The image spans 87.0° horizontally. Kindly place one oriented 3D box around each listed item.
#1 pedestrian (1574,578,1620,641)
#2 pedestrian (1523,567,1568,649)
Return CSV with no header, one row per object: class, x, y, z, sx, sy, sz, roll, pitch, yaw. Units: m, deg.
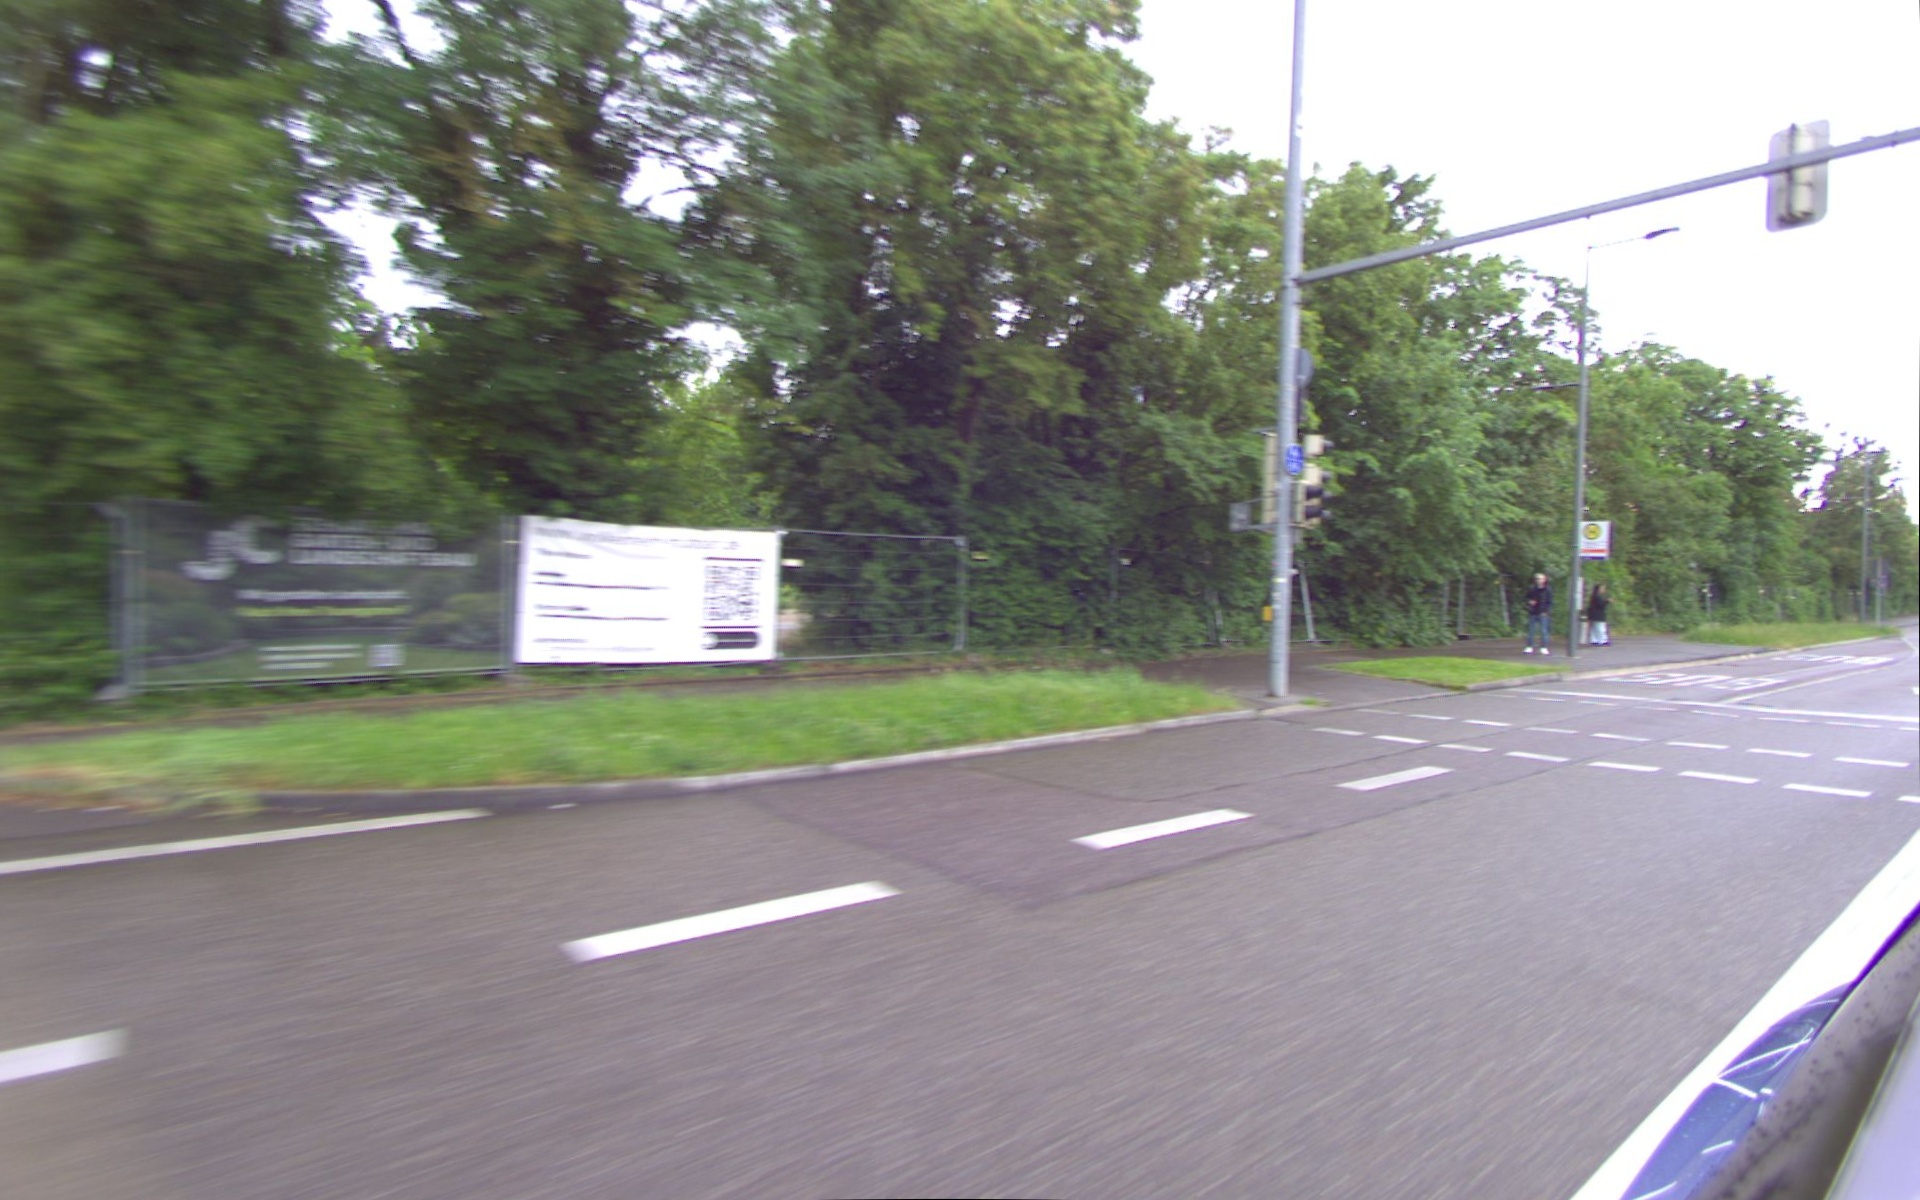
pedestrian,17.727,0.262,28.177,0.816,1.696,0.822,0,1,-39
pedestrian,13.984,0.171,24.158,0.687,1.907,0.677,0,1,-39
